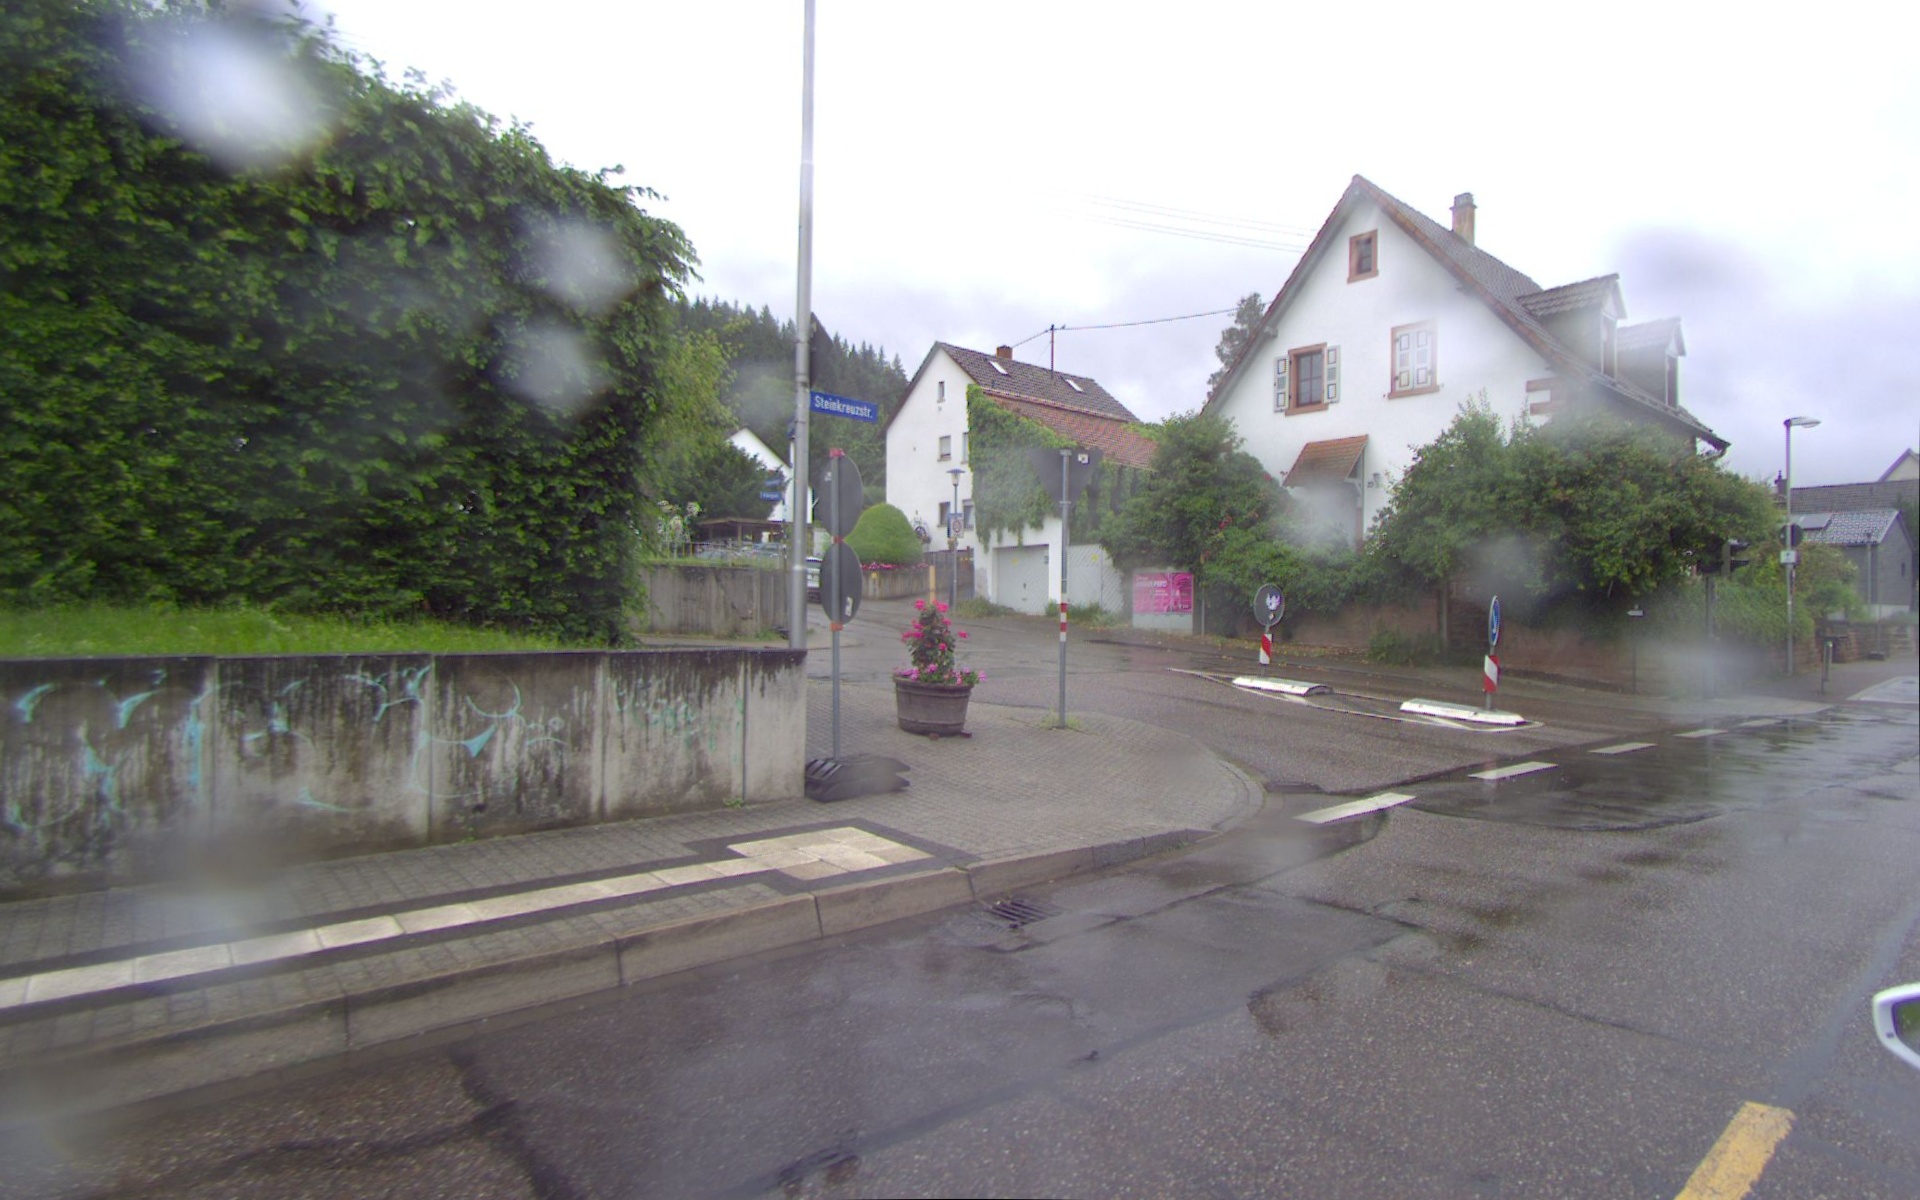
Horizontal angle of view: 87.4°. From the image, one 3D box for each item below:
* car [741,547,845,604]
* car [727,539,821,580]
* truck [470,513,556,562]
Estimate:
[{"bbox_3d":[-5.937,-0.894,35.381,1.885,1.534,3.846,2,6,-40],"label":"car"},{"bbox_3d":[-8.705,-1.906,47.242,3.861,1.534,1.878,2,6,-41],"label":"car"},{"bbox_3d":[-22.316,-3.104,49.991,2.282,2.155,6.007,2,2,-40],"label":"truck"}]
